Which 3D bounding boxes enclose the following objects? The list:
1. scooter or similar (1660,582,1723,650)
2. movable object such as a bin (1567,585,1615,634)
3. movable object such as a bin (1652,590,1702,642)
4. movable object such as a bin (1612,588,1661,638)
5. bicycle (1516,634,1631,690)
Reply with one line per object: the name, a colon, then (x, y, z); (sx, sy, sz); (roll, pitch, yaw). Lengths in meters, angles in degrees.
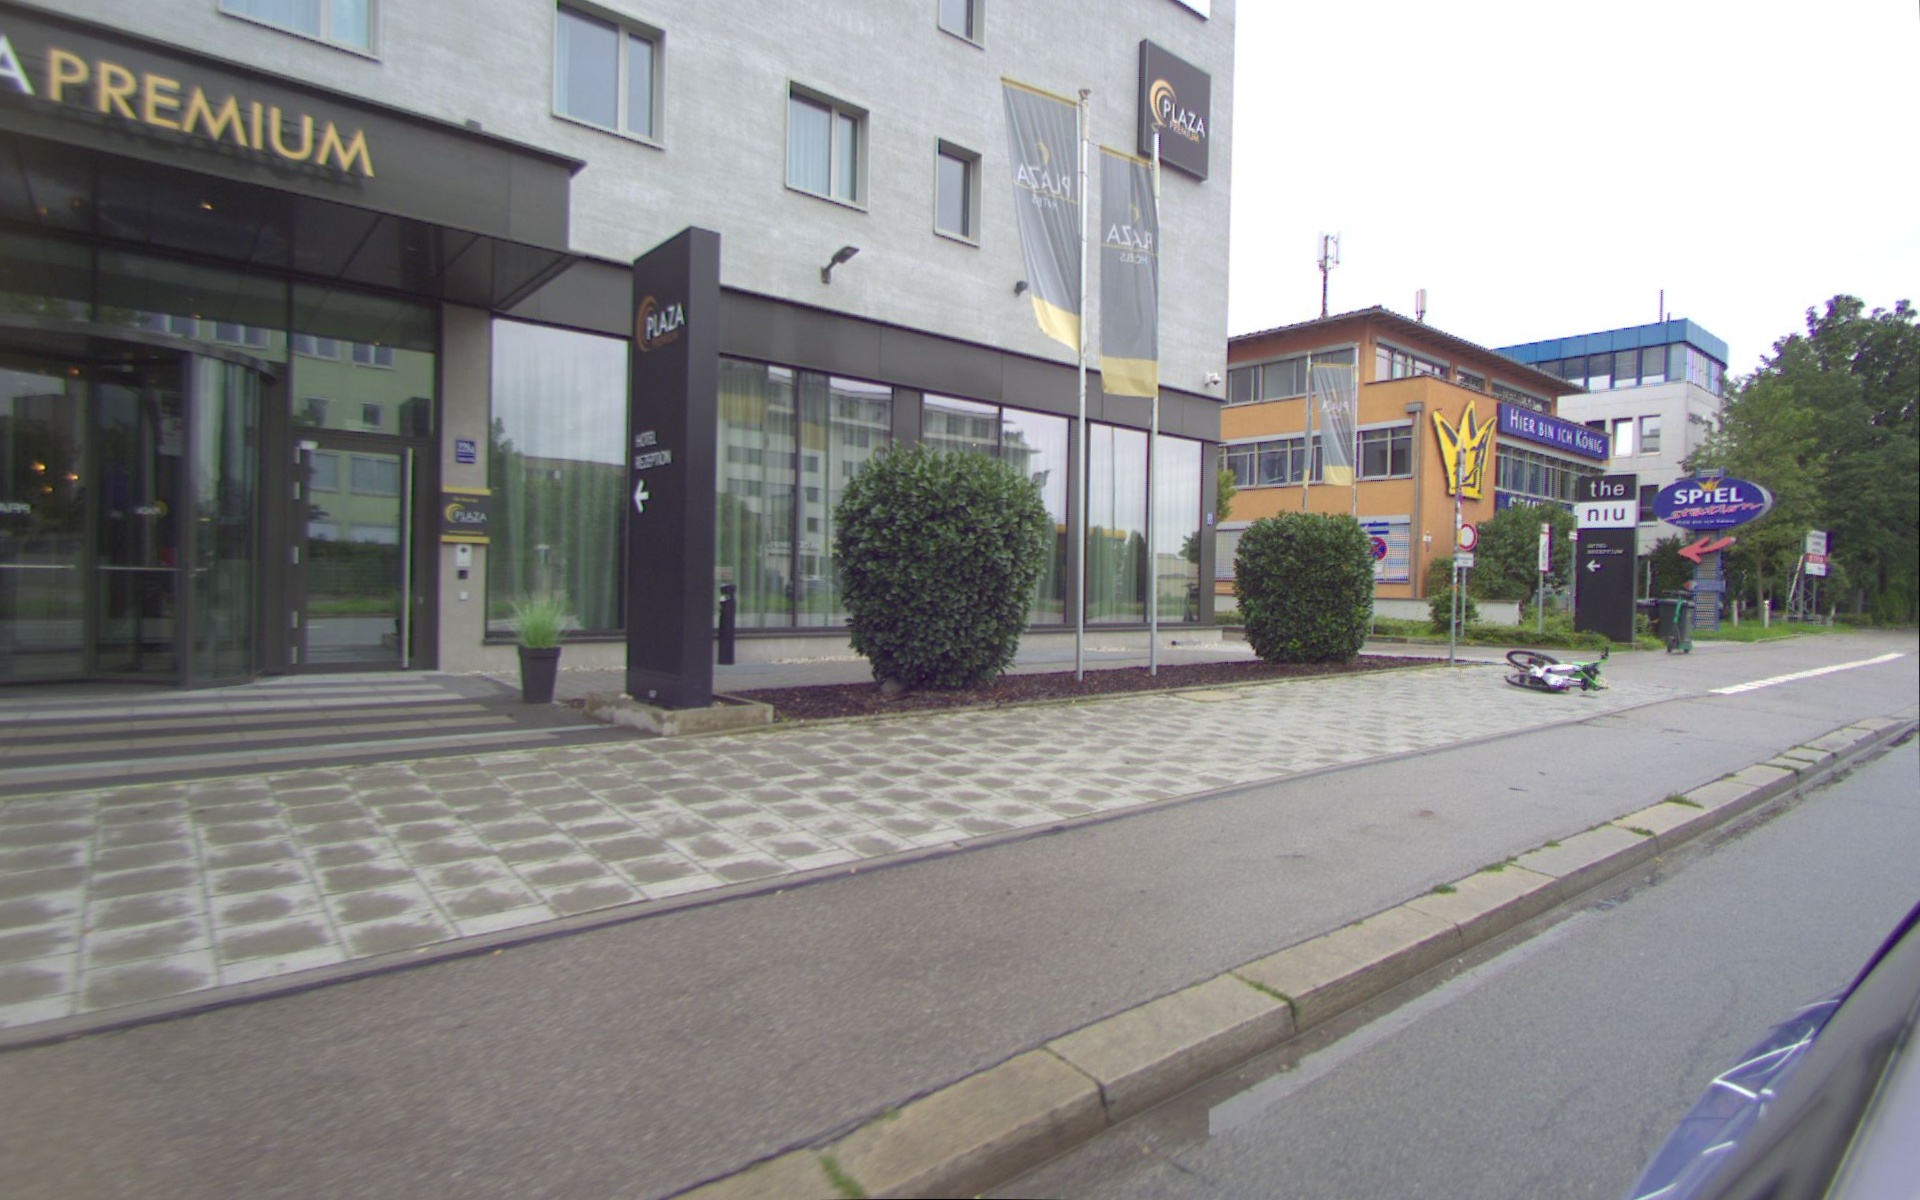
scooter or similar: (14.833, 0.314, 20.525); (1.378, 1.292, 0.587); (0, 6, -39)
movable object such as a bin: (14.861, 0.209, 23.834); (0.643, 1.091, 0.739); (0, 2, -39)
movable object such as a bin: (15.935, 0.340, 22.493); (0.643, 1.091, 0.739); (0, 2, -39)
movable object such as a bin: (15.456, 0.296, 23.120); (0.643, 1.091, 0.739); (0, 2, -39)
bicycle: (7.877, 0.772, 12.978); (1.701, 0.555, 0.722); (0, 5, -40)
